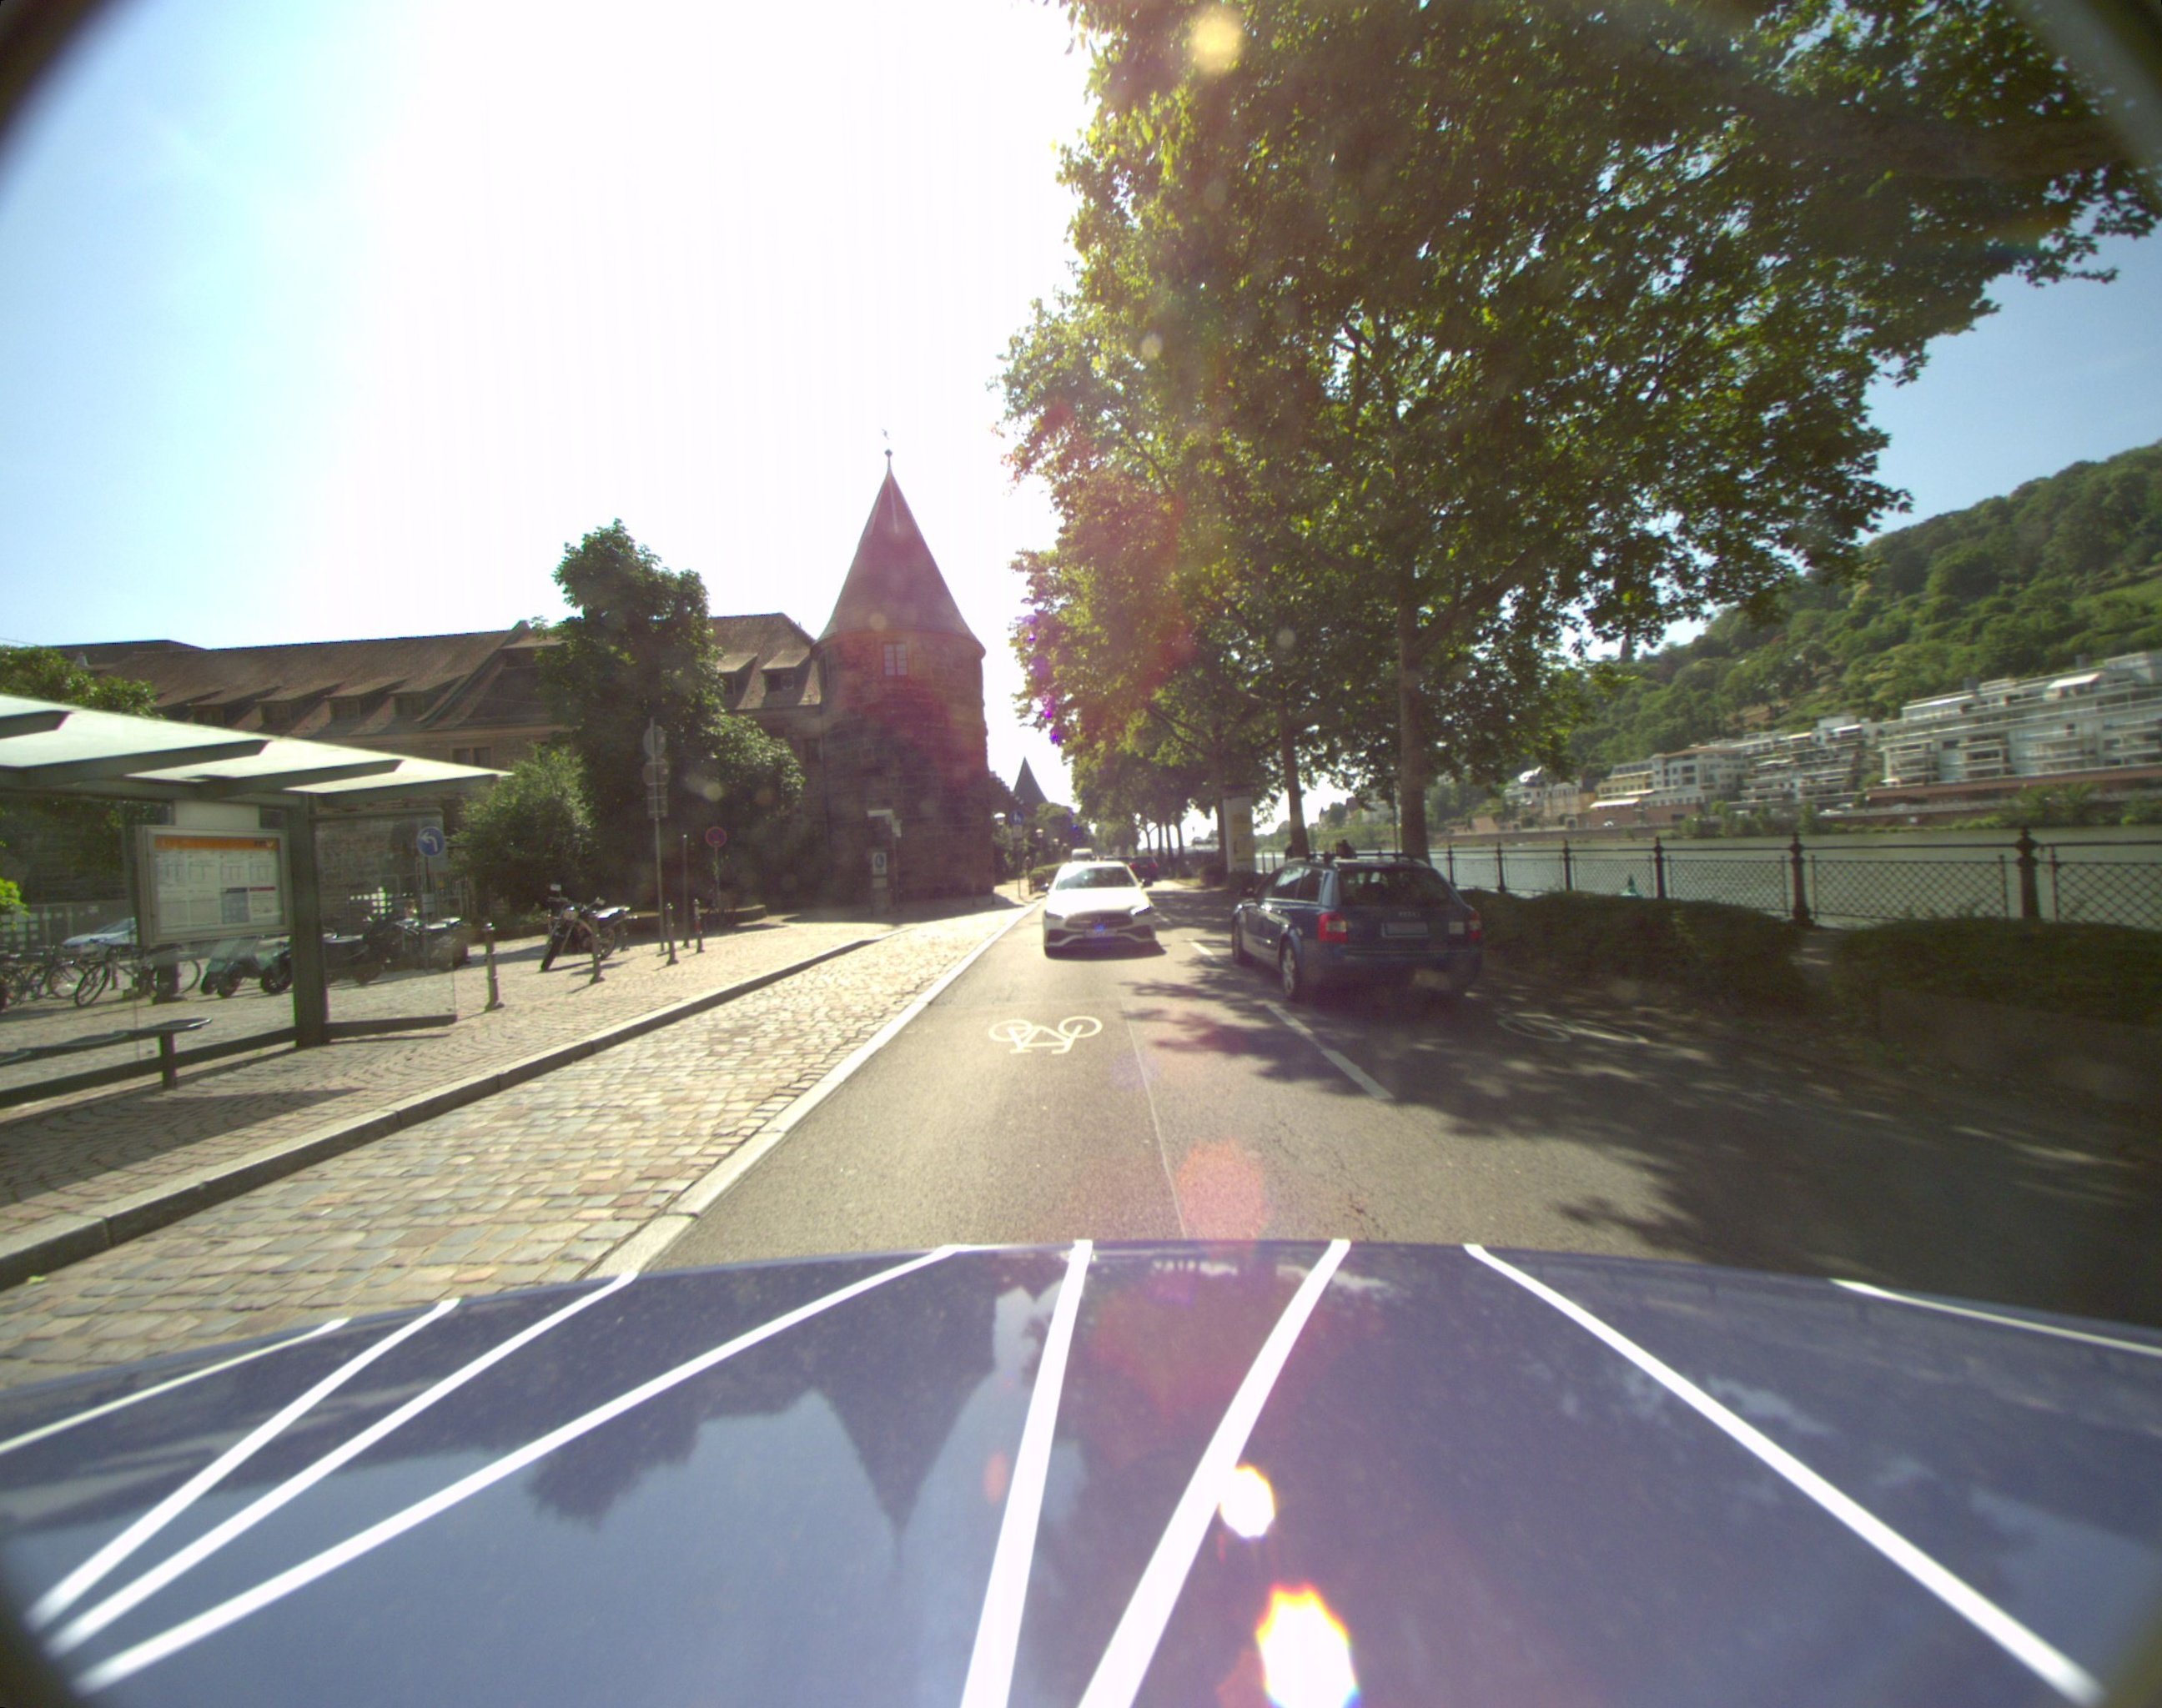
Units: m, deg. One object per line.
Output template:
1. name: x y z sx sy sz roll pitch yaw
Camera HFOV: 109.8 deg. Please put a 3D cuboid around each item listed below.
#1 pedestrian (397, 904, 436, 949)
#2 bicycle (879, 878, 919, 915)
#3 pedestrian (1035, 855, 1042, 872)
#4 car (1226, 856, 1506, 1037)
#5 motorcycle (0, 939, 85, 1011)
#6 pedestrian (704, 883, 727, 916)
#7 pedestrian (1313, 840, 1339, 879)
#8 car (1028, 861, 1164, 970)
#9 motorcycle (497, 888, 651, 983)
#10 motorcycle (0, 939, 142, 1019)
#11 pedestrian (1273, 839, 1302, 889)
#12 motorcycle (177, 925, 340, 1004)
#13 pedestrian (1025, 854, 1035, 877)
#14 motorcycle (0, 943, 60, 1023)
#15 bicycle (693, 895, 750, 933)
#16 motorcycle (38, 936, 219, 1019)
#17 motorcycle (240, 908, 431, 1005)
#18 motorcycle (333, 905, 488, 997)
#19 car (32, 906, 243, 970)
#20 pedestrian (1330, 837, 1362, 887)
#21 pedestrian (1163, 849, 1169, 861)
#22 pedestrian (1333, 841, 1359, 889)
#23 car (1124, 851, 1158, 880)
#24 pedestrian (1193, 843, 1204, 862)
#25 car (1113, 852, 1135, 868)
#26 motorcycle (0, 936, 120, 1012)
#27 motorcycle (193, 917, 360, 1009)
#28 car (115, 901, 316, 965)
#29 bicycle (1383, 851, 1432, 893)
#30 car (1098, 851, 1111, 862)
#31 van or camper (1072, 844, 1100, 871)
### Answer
1. pedestrian: -22.148 2.411 25.329 0.660 1.413 0.675 -3 3 31
2. bicycle: -6.279 1.450 26.295 0.845 1.146 1.844 -4 1 0
3. pedestrian: -4.420 0.965 78.882 0.592 1.662 0.441 -3 1 1
4. car: 2.867 0.801 8.748 1.705 1.509 4.405 0 1 2
5. motorcycle: -20.602 2.350 14.338 0.598 1.229 2.049 -3 1 27
6. pedestrian: -14.498 1.789 30.154 0.667 1.224 0.781 -4 1 -19
7. pedestrian: 8.572 0.178 26.599 0.633 1.312 0.553 -4 1 0
8. car: 0.263 0.906 13.210 1.875 1.416 4.744 -2 0 1
9. motorcycle: -8.331 1.281 12.684 0.885 1.285 2.528 -5 -1 -3
10. motorcycle: -18.905 2.287 13.903 0.742 1.138 2.020 -5 1 3
11. pedestrian: 7.354 0.339 27.108 0.760 1.720 0.730 -4 1 0
12. motorcycle: -14.853 1.960 13.821 0.877 1.088 1.904 -4 1 -3
13. pedestrian: -4.146 0.917 61.757 0.556 1.844 1.023 -3 1 1
14. motorcycle: -17.732 2.097 11.902 2.342 1.140 0.878 -4 1 4
15. bicycle: -11.031 1.823 23.377 0.659 0.996 1.714 -4 0 11
16. motorcycle: -15.902 2.024 12.777 0.631 1.074 1.929 -4 -1 -3
17. motorcycle: -12.135 1.613 12.513 0.740 1.229 2.272 -3 1 3
18. motorcycle: -11.242 1.575 12.867 0.660 1.229 2.215 -4 1 -3
19. car: -34.460 2.996 27.991 1.998 1.608 4.425 -3 2 4
20. pedestrian: 9.293 0.270 26.637 0.793 1.674 0.709 -4 1 0
21. pedestrian: 11.415 0.131 101.922 0.760 1.696 0.730 -3 0 3
22. pedestrian: 9.244 0.367 26.548 0.633 1.618 0.553 -4 1 0
23. car: 3.809 0.726 48.795 1.875 1.661 4.745 -2 -1 1
24. pedestrian: 10.909 -0.146 70.537 0.760 1.697 0.730 -4 1 0
25. car: 4.587 0.608 81.040 1.998 1.598 4.257 -4 0 0
26. motorcycle: -19.905 2.287 14.344 0.598 1.229 2.049 -3 1 26
27. motorcycle: -13.045 1.726 12.409 0.671 1.224 1.807 -4 -1 3
28. car: -31.331 2.811 27.769 1.998 1.608 4.425 -3 2 4
29. bicycle: 9.570 0.504 22.365 0.564 1.146 1.844 -5 1 0
30. car: 3.755 0.452 122.940 1.998 1.598 4.257 -4 0 0
31. van or camper: 0.499 0.302 72.527 2.437 2.271 6.203 -4 0 0
